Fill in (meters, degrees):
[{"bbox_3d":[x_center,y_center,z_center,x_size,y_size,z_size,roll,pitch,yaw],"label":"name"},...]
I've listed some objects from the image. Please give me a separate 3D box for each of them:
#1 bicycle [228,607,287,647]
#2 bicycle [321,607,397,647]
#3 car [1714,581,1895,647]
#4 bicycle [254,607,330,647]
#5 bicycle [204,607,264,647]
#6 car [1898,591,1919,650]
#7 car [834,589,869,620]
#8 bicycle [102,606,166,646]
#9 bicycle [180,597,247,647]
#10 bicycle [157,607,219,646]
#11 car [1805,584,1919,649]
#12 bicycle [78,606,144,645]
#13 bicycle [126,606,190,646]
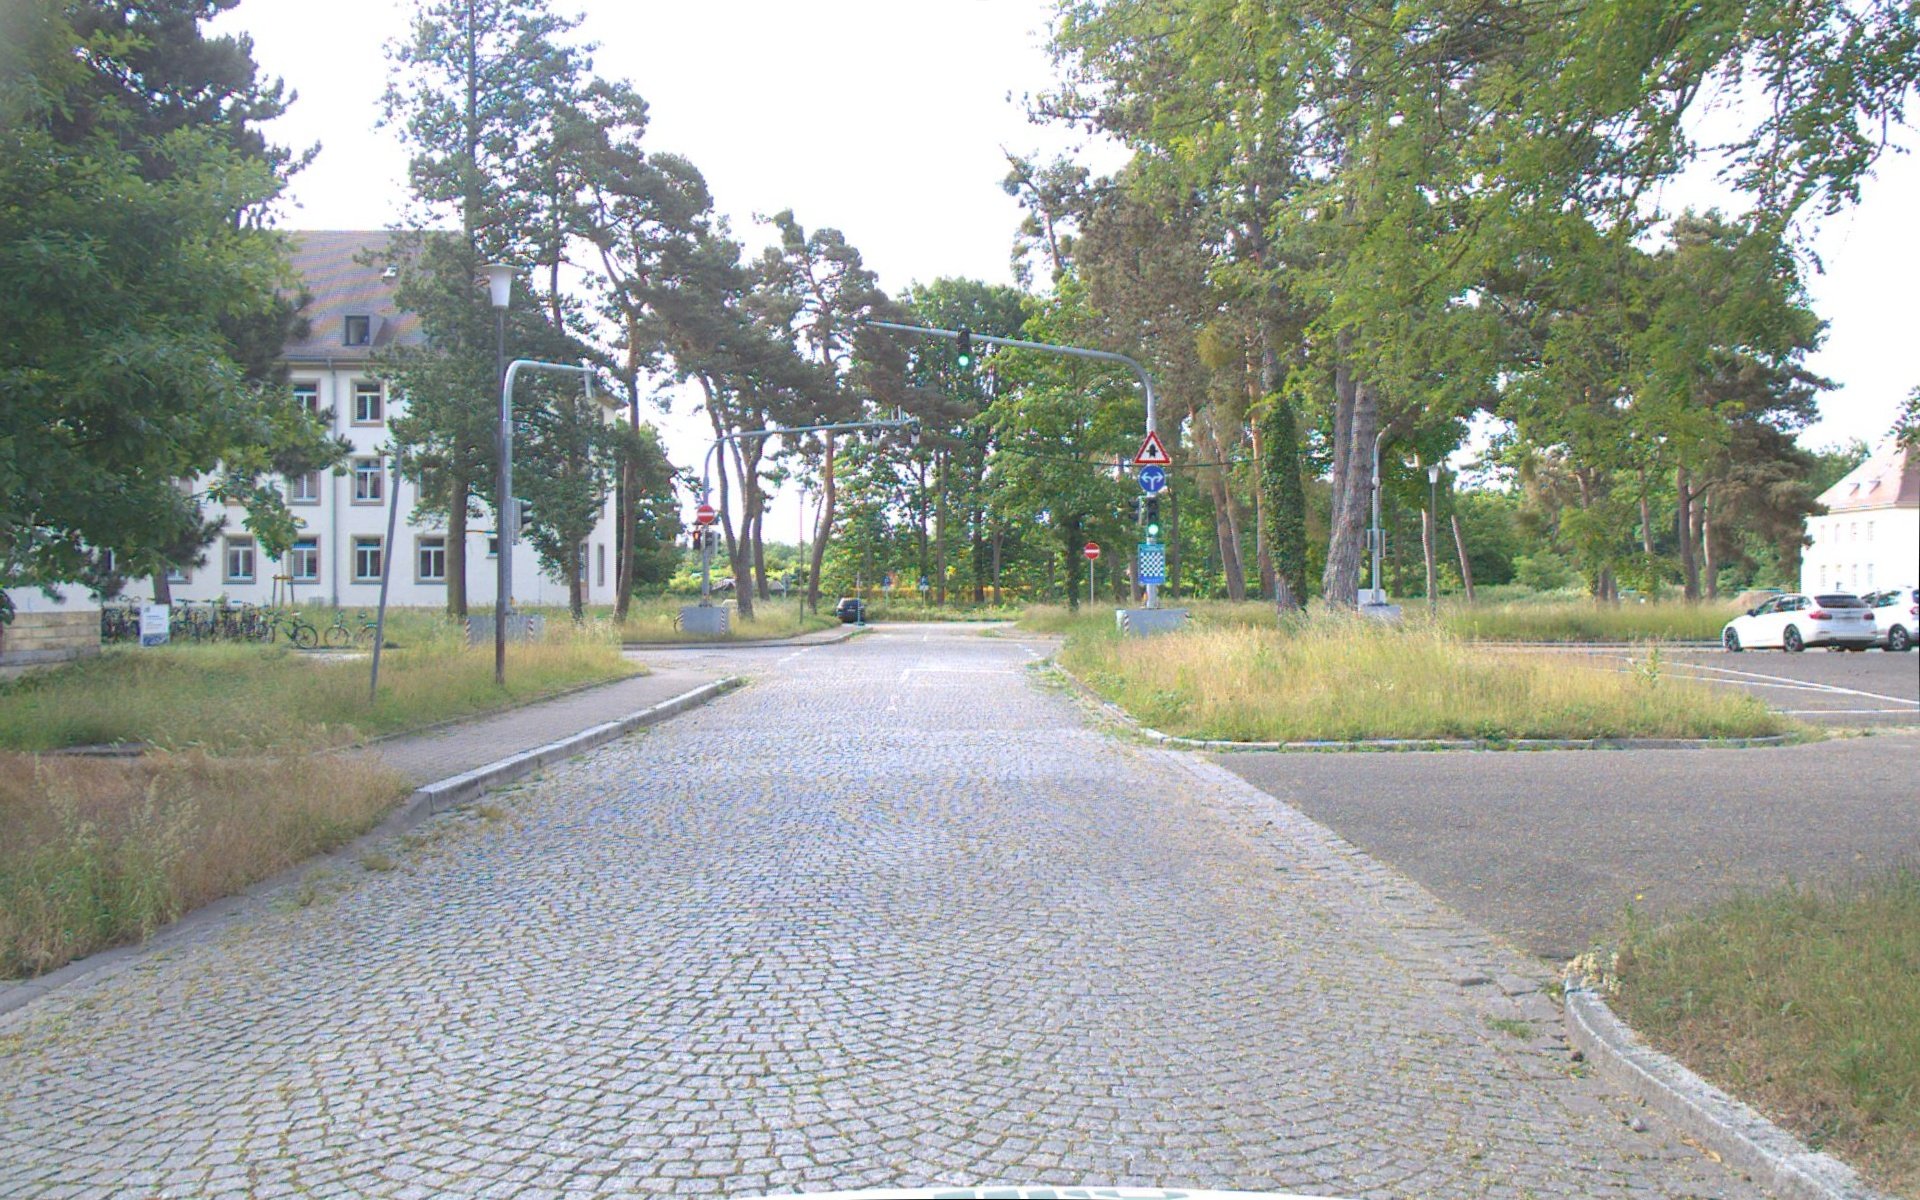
[{"bbox_3d":[-20.168,0.752,47.521,0.721,1.095,2.273,0,0,0],"label":"bicycle"},{"bbox_3d":[-16.841,0.745,46.366,1.818,1.095,0.831,0,0,1],"label":"bicycle"},{"bbox_3d":[20.729,0.374,40.810,1.954,1.507,4.421,0,-1,-4],"label":"car"},{"bbox_3d":[-18.692,0.741,46.296,1.818,1.095,0.738,0,0,1],"label":"bicycle"},{"bbox_3d":[-20.797,0.761,47.431,0.721,1.095,2.273,0,0,0],"label":"bicycle"},{"bbox_3d":[25.805,0.486,41.369,1.954,1.507,4.421,0,-1,-4],"label":"car"},{"bbox_3d":[-6.790,0.250,103.871,2.014,1.878,3.999,0,0,-2],"label":"car"},{"bbox_3d":[-23.666,0.723,47.425,0.721,1.095,2.273,0,0,0],"label":"bicycle"},{"bbox_3d":[-21.532,0.612,47.773,0.721,1.410,2.711,0,0,0],"label":"bicycle"},{"bbox_3d":[-22.319,0.747,47.869,0.721,1.095,2.273,0,0,0],"label":"bicycle"},{"bbox_3d":[23.194,0.428,41.032,1.954,1.507,4.421,0,-1,-4],"label":"car"},{"bbox_3d":[-24.363,0.716,47.490,0.721,1.095,2.273,0,0,0],"label":"bicycle"},{"bbox_3d":[-22.946,0.724,47.365,0.721,1.095,2.273,0,0,0],"label":"bicycle"}]
